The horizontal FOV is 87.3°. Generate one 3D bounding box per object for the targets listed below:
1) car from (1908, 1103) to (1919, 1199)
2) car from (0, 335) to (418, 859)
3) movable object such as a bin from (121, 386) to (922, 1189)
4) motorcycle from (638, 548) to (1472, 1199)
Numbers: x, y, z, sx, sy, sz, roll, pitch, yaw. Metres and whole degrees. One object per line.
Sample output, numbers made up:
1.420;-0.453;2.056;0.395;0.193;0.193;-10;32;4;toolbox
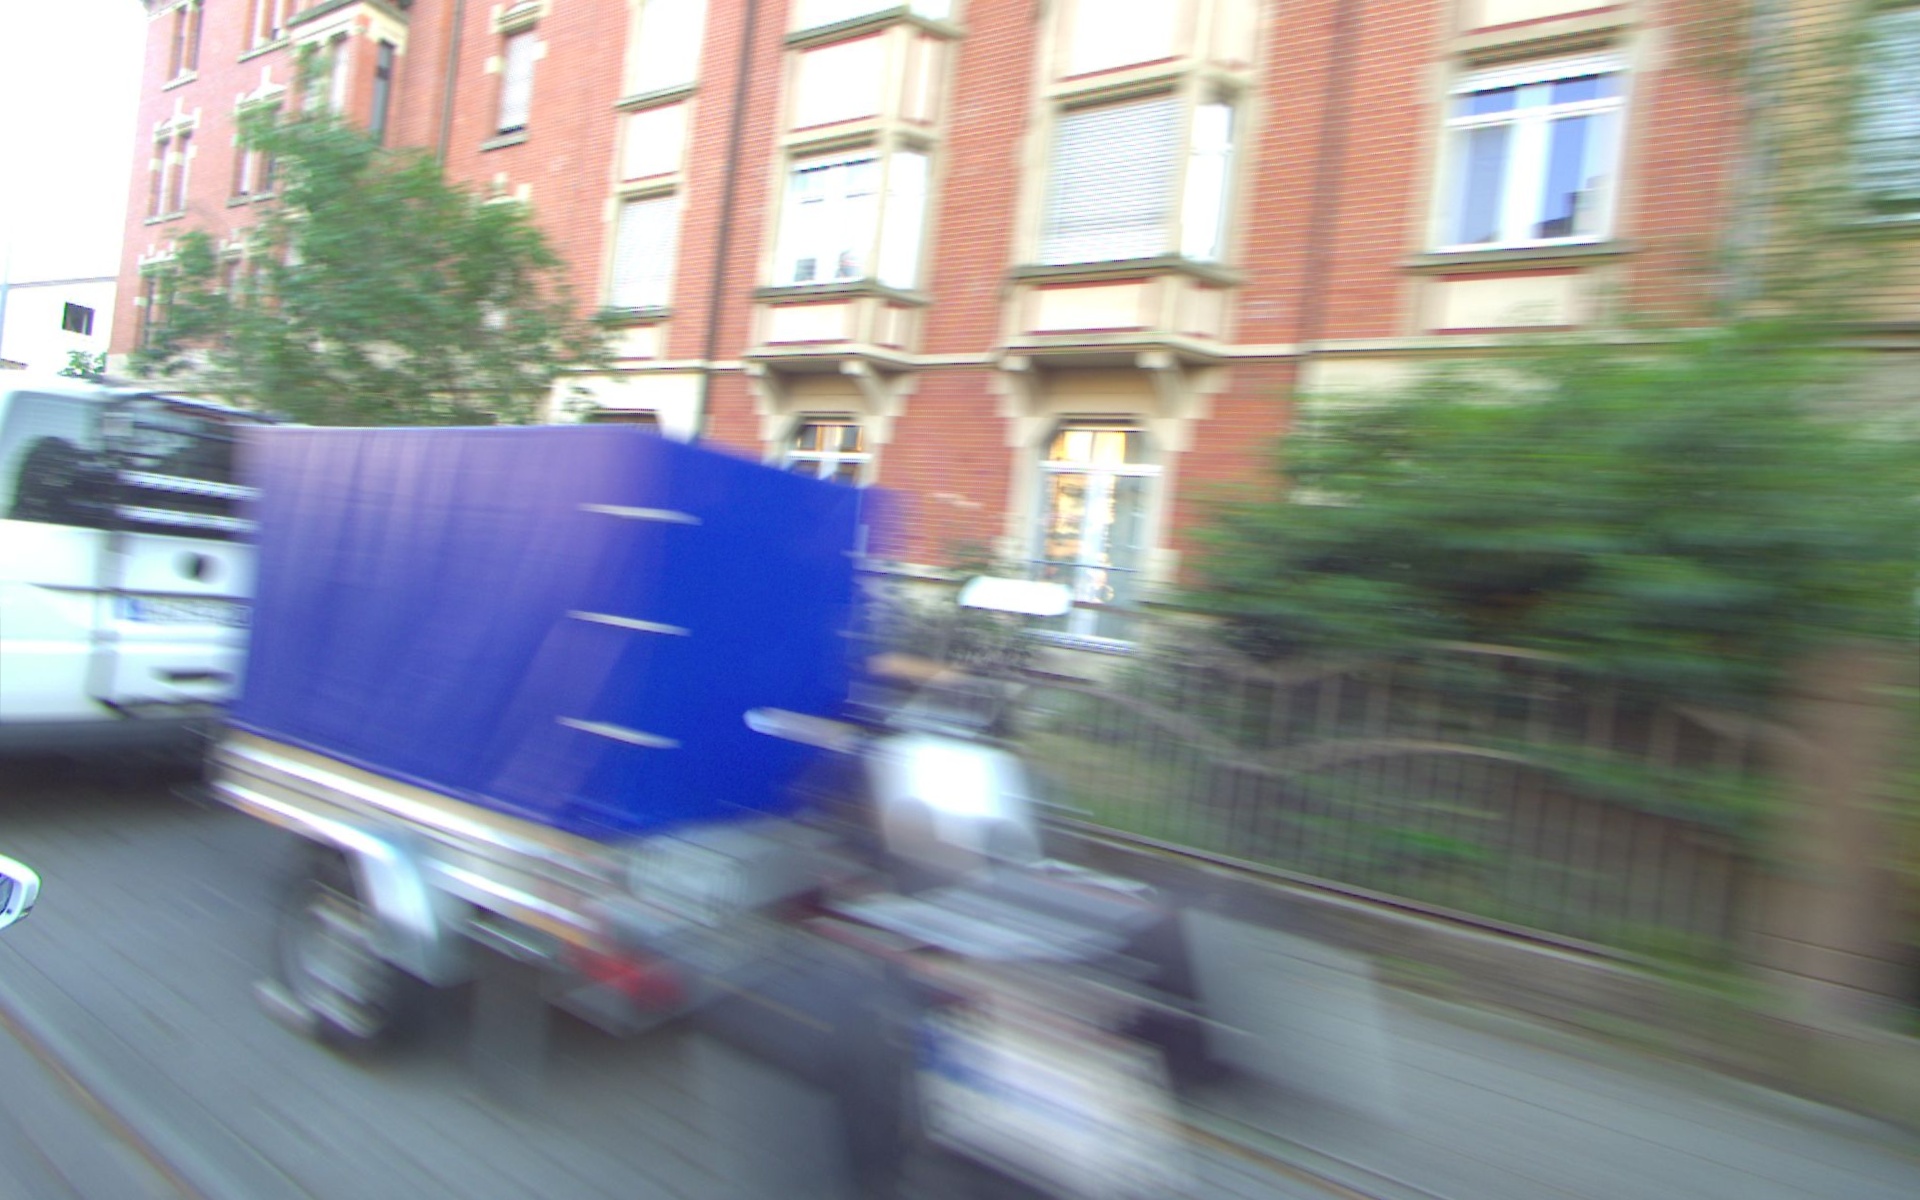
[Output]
3.394;1.119;0.284;4.256;1.569;1.722;7;-1;34;car
-5.754;-0.235;5.928;5.451;2.065;1.863;7;1;31;car
-1.560;0.372;3.558;2.286;1.902;1.413;7;2;31;movable object such as a bin
0.084;0.723;2.505;1.112;1.501;2.093;6;1;-2;motorcycle
